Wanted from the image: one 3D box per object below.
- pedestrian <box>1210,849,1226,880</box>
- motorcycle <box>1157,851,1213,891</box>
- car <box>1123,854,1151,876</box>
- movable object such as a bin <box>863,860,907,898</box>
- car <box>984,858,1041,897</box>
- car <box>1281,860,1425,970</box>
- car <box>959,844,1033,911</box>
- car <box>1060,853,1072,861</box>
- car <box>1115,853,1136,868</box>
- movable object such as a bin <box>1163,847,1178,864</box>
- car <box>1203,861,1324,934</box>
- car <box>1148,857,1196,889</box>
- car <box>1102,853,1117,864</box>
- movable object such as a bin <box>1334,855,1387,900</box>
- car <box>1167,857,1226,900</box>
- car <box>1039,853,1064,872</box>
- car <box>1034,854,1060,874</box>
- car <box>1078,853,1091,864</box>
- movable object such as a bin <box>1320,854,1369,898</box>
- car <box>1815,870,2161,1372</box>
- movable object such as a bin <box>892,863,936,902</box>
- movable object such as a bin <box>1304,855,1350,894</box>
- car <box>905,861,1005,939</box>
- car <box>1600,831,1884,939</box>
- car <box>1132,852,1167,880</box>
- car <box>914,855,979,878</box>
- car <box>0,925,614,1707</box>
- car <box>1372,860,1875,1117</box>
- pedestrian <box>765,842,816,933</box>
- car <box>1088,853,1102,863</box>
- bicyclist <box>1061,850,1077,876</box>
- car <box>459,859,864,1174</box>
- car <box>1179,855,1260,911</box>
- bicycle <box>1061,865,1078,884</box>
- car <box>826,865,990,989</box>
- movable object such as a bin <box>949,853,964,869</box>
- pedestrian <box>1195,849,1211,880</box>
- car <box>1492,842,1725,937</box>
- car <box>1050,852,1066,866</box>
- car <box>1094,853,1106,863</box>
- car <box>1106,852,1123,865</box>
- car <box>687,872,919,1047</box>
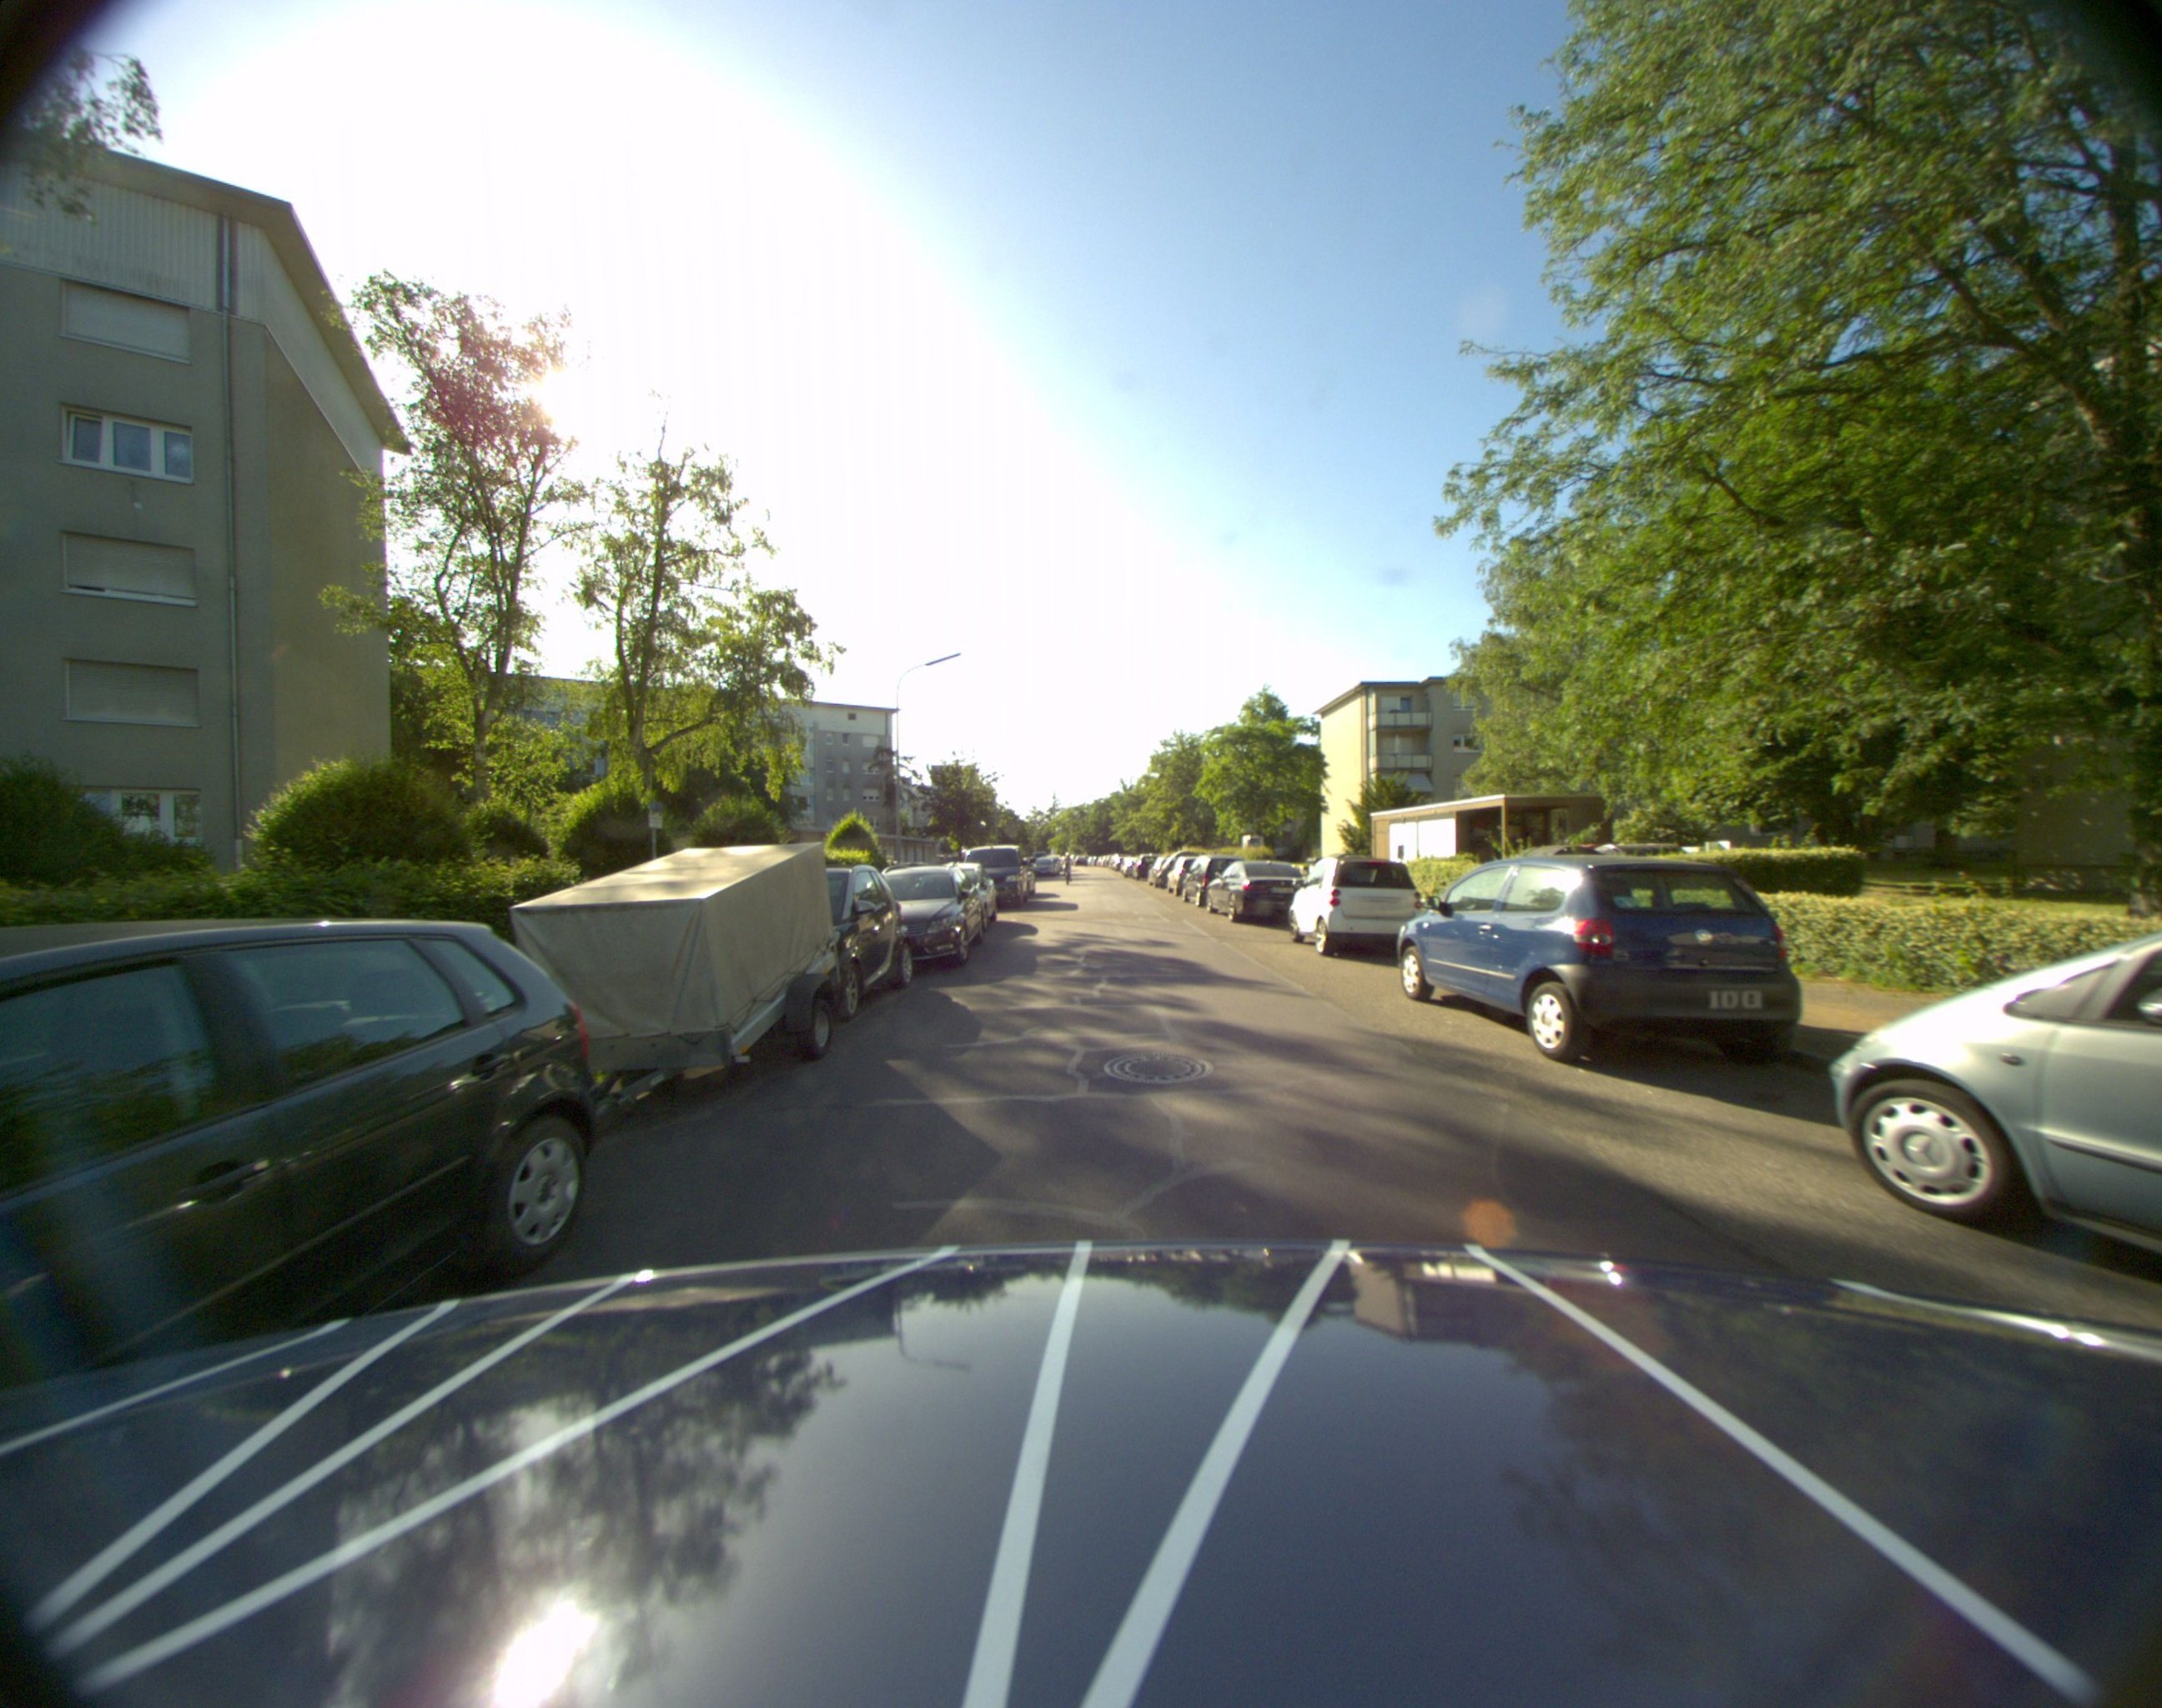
[{"bbox_3d":[7.605,0.570,42.181,0.722,1.669,0.600,-1,1,0],"label":"pedestrian"},{"bbox_3d":[4.597,0.744,33.723,2.262,1.717,0.932,2,1,-3],"label":"motorcycle"},{"bbox_3d":[3.953,0.774,53.964,1.758,1.417,4.210,1,1,2],"label":"car"},{"bbox_3d":[-7.186,0.897,27.912,1.226,1.357,1.133,-1,1,3],"label":"movable object such as a bin"},{"bbox_3d":[-2.750,0.916,31.595,1.805,1.410,4.636,-2,0,2],"label":"car"},{"bbox_3d":[4.457,0.917,12.885,1.447,1.565,3.143,1,0,4],"label":"car"},{"bbox_3d":[-2.675,0.694,24.925,1.857,1.923,4.704,-2,0,-1],"label":"car"},{"bbox_3d":[-3.002,0.507,153.152,1.659,1.558,3.686,0,0,-11],"label":"car"},{"bbox_3d":[4.351,0.659,75.386,1.759,1.377,4.673,0,1,-1],"label":"car"},{"bbox_3d":[7.813,0.106,66.399,1.004,1.407,1.326,-4,1,-2],"label":"movable object such as a bin"},{"bbox_3d":[4.263,0.947,18.508,1.759,1.472,4.536,1,0,-1],"label":"car"},{"bbox_3d":[4.319,0.871,36.655,1.759,1.412,4.268,1,0,0],"label":"car"},{"bbox_3d":[3.935,0.555,105.267,1.811,1.470,3.939,0,0,-3],"label":"car"},{"bbox_3d":[8.824,0.727,24.068,1.180,1.332,1.343,-1,0,1],"label":"movable object such as a bin"},{"bbox_3d":[4.433,0.895,29.625,1.758,1.472,3.959,1,0,1],"label":"car"},{"bbox_3d":[-2.559,0.689,66.243,1.835,1.537,4.641,-1,0,1],"label":"car"},{"bbox_3d":[-2.709,0.810,60.903,1.809,1.486,3.795,-1,0,1],"label":"car"},{"bbox_3d":[0.467,0.659,109.902,1.915,1.468,4.570,0,0,0],"label":"car"},{"bbox_3d":[8.792,0.720,25.411,1.180,1.400,1.343,-1,0,1],"label":"movable object such as a bin"},{"bbox_3d":[4.336,0.885,1.847,1.640,1.597,3.534,0,0,-1],"label":"car"},{"bbox_3d":[-5.873,0.991,26.840,1.028,1.302,1.388,2,1,10],"label":"movable object such as a bin"},{"bbox_3d":[8.663,0.709,26.852,1.180,1.280,1.343,-1,0,1],"label":"movable object such as a bin"},{"bbox_3d":[-2.775,0.966,17.584,1.627,1.481,4.035,-2,0,-1],"label":"car"},{"bbox_3d":[11.654,0.467,13.818,1.574,1.631,3.999,-2,0,-2],"label":"car"},{"bbox_3d":[4.243,0.730,47.385,1.759,1.626,4.370,1,0,0],"label":"car"},{"bbox_3d":[-9.336,0.879,53.021,4.194,1.486,1.817,-1,0,-3],"label":"car"},{"bbox_3d":[-2.946,1.062,1.476,1.736,1.395,3.894,-2,0,-2],"label":"car"},{"bbox_3d":[4.303,0.898,6.955,1.758,1.597,3.968,1,0,1],"label":"car"},{"bbox_3d":[-6.181,0.688,16.178,0.705,1.877,0.872,1,1,1],"label":"pedestrian"},{"bbox_3d":[2.273,0.614,122.387,1.659,1.470,3.733,0,0,-7],"label":"car"},{"bbox_3d":[-0.622,0.488,40.387,0.812,1.348,1.091,-1,1,1],"label":"bicyclist"},{"bbox_3d":[-2.752,0.937,5.618,1.492,1.708,2.583,-2,0,0],"label":"car"},{"bbox_3d":[4.253,0.850,23.871,1.759,1.565,3.719,1,0,-2],"label":"car"},{"bbox_3d":[-0.609,1.084,40.510,0.824,0.896,2.203,-1,0,1],"label":"bicycle"},{"bbox_3d":[-2.562,0.999,12.317,1.736,1.481,4.500,-3,0,-2],"label":"car"},{"bbox_3d":[-11.802,0.662,72.042,1.326,1.472,1.029,-1,1,-6],"label":"movable object such as a bin"},{"bbox_3d":[6.774,0.582,42.179,0.722,1.669,0.616,-1,1,0],"label":"pedestrian"},{"bbox_3d":[9.792,0.583,14.537,1.574,1.516,3.999,-2,0,-2],"label":"car"},{"bbox_3d":[-2.864,0.571,92.272,1.759,1.664,4.411,-1,0,-4],"label":"car"},{"bbox_3d":[2.916,0.625,117.370,1.658,1.470,3.104,0,0,-5],"label":"car"},{"bbox_3d":[4.285,0.519,98.254,1.811,1.596,4.431,0,0,-2],"label":"car"},{"bbox_3d":[-2.861,1.015,8.342,1.418,1.515,2.558,-2,0,4],"label":"car"}]
